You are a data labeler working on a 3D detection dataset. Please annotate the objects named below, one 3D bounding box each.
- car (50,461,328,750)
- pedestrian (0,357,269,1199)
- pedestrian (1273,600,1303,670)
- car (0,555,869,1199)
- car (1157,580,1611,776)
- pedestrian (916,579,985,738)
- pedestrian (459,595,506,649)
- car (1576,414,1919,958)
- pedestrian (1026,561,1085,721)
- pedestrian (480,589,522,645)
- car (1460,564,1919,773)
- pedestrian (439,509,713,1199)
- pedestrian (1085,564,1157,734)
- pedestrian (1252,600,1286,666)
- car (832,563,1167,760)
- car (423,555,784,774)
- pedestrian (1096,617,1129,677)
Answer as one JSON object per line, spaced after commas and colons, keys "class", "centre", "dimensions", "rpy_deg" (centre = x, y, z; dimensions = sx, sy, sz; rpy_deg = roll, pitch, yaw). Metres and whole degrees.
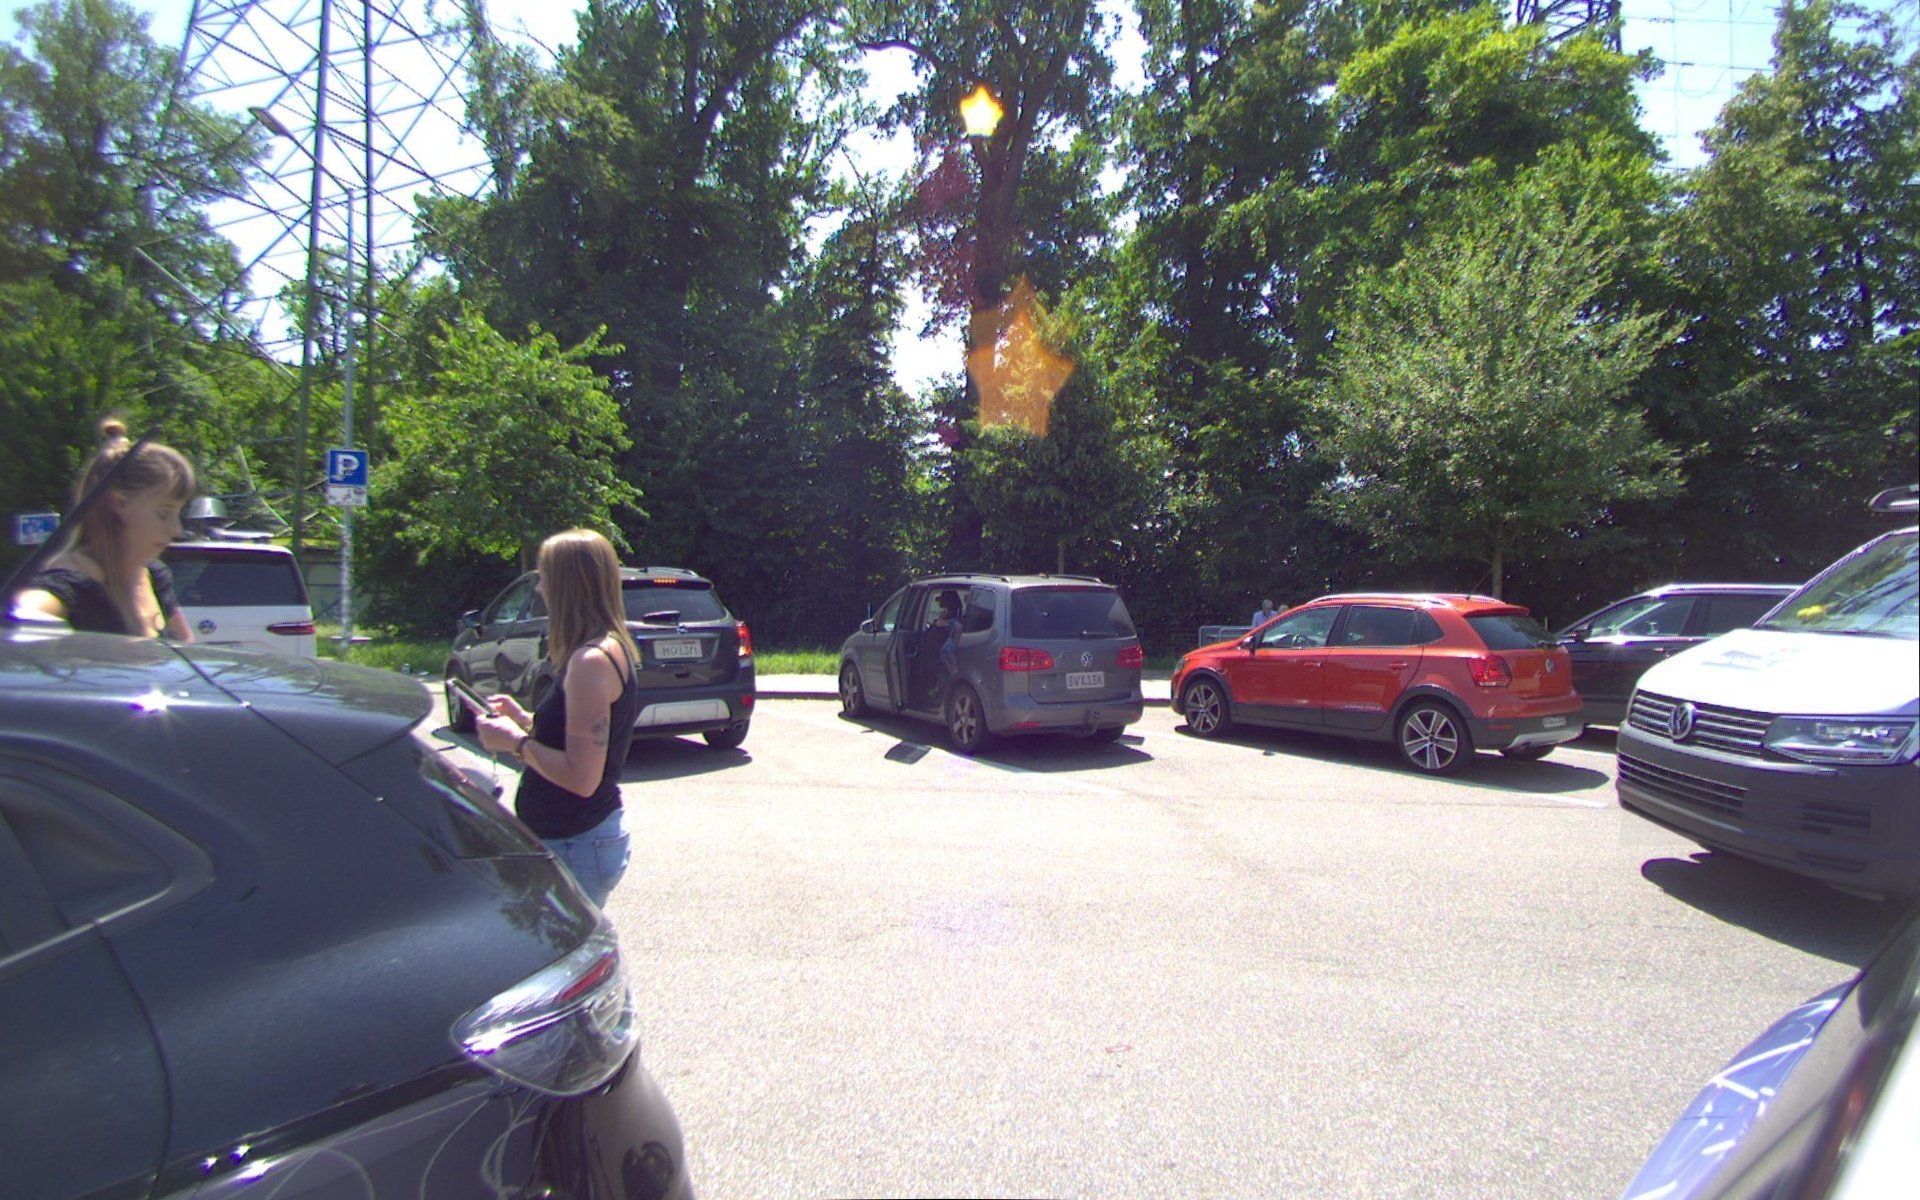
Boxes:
{"class": "car", "centre": [-8.451, 0.039, 10.879], "dimensions": [1.897, 2.400, 4.963], "rpy_deg": [1, -1, -43]}
{"class": "pedestrian", "centre": [-1.956, 0.477, 2.390], "dimensions": [0.478, 1.883, 0.913], "rpy_deg": [1, -1, -33]}
{"class": "pedestrian", "centre": [5.826, 0.613, 17.985], "dimensions": [0.348, 1.207, 0.367], "rpy_deg": [0, 0, -20]}
{"class": "car", "centre": [-2.020, 0.709, 0.798], "dimensions": [1.776, 1.476, 3.627], "rpy_deg": [0, 0, 44]}
{"class": "car", "centre": [3.811, 0.591, 9.678], "dimensions": [1.588, 1.485, 3.751], "rpy_deg": [1, 0, -34]}
{"class": "pedestrian", "centre": [-0.103, 0.554, 10.028], "dimensions": [0.510, 1.516, 0.561], "rpy_deg": [0, 0, -21]}
{"class": "pedestrian", "centre": [-10.816, 0.488, 22.931], "dimensions": [0.785, 1.178, 0.696], "rpy_deg": [0, 0, 39]}
{"class": "car", "centre": [6.167, 0.354, 4.702], "dimensions": [5.336, 2.131, 1.842], "rpy_deg": [1, 1, 4]}
{"class": "pedestrian", "centre": [1.063, 0.445, 11.344], "dimensions": [0.500, 1.744, 0.438], "rpy_deg": [0, 0, -24]}
{"class": "pedestrian", "centre": [-11.093, 0.399, 24.450], "dimensions": [0.539, 1.318, 0.758], "rpy_deg": [0, 0, 37]}
{"class": "car", "centre": [7.137, 0.534, 9.711], "dimensions": [1.679, 1.637, 3.863], "rpy_deg": [1, 0, -40]}
{"class": "pedestrian", "centre": [-0.977, 0.606, 2.573], "dimensions": [0.477, 1.614, 0.502], "rpy_deg": [1, -1, -44]}
{"class": "pedestrian", "centre": [1.696, 0.497, 10.692], "dimensions": [0.576, 1.744, 0.483], "rpy_deg": [0, 0, -20]}
{"class": "pedestrian", "centre": [5.797, 0.605, 18.986], "dimensions": [0.433, 1.207, 0.414], "rpy_deg": [0, 0, -30]}
{"class": "car", "centre": [0.201, 0.502, 10.545], "dimensions": [1.670, 1.637, 3.912], "rpy_deg": [0, 0, -30]}
{"class": "car", "centre": [-3.591, 0.475, 9.720], "dimensions": [1.807, 1.637, 4.159], "rpy_deg": [1, 0, -42]}
{"class": "pedestrian", "centre": [2.364, 0.720, 15.722], "dimensions": [0.494, 0.890, 0.512], "rpy_deg": [0, 0, 10]}
